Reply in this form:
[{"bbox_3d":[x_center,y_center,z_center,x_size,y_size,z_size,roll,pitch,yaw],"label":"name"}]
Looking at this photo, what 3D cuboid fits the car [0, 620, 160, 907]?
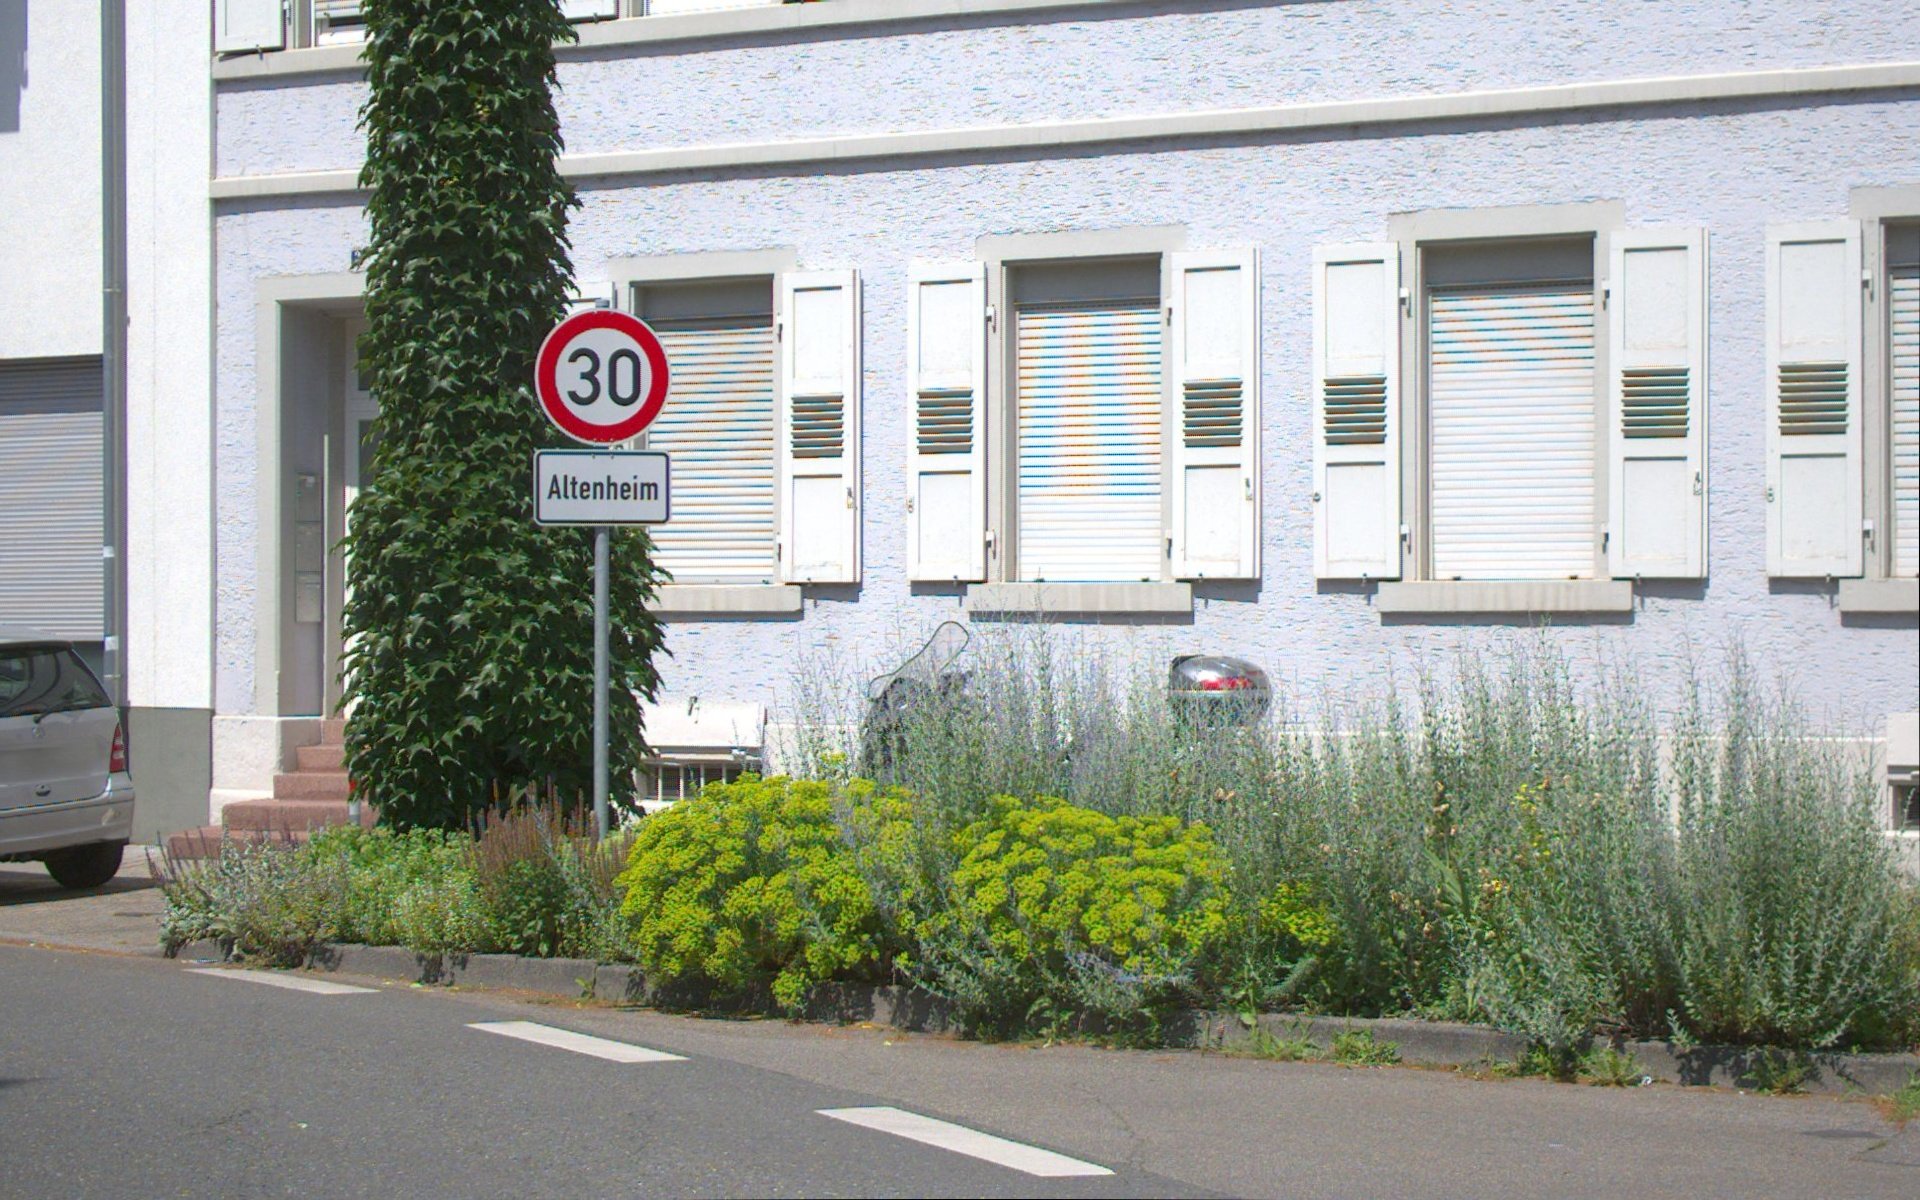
[{"bbox_3d":[-6.586,0.889,20.216,3.613,1.581,1.581,1,-2,34],"label":"car"}]
